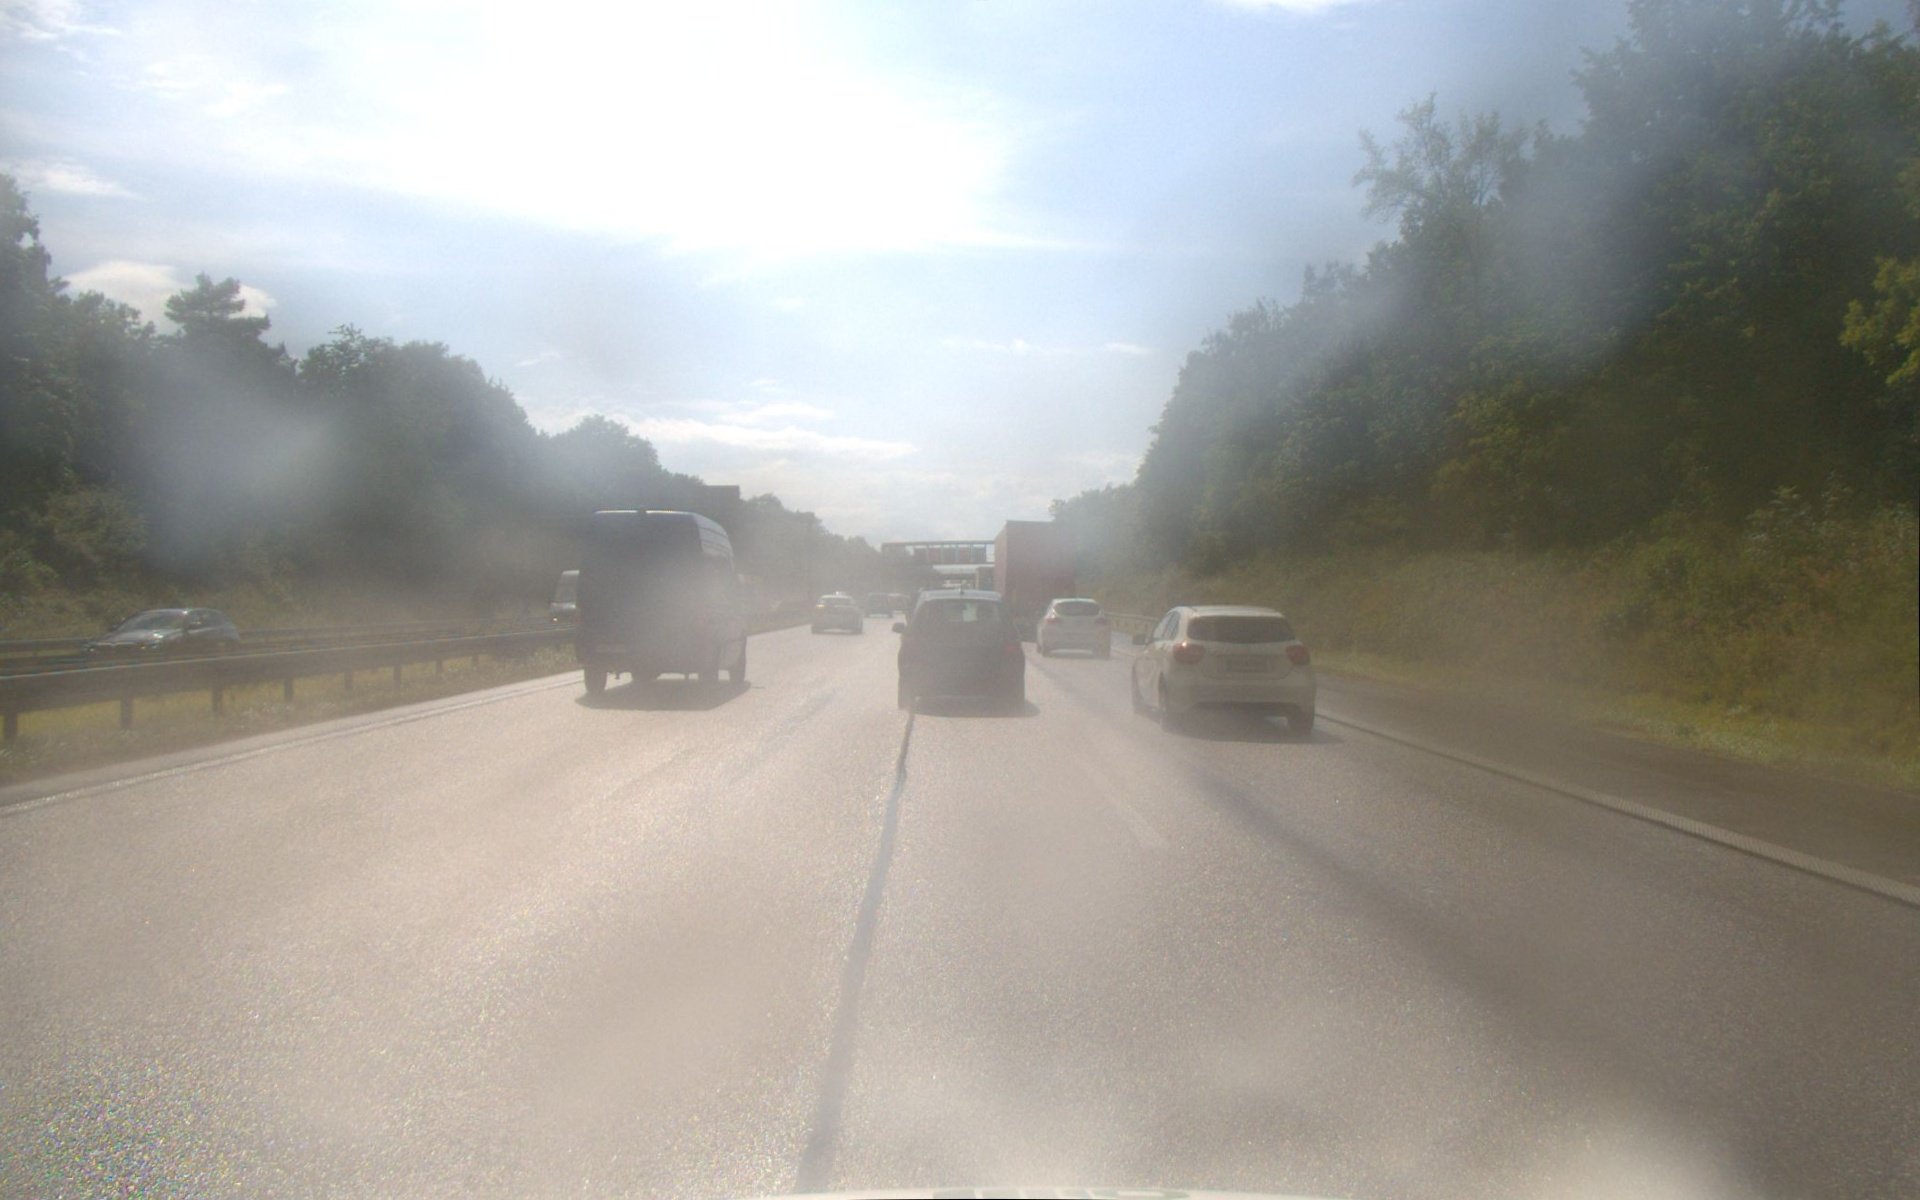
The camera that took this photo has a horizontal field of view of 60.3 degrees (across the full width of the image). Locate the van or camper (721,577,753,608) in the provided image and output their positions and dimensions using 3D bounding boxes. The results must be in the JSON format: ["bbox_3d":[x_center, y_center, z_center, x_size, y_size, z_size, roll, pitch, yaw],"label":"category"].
[{"bbox_3d":[-22.245,-0.692,165.368,2.450,2.972,7.135,1,0,-2],"label":"van or camper"}]

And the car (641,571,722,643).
[{"bbox_3d":[-10.187,0.256,60.960,2.139,2.495,5.746,1,0,-2],"label":"car"}]

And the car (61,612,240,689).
[{"bbox_3d":[-17.555,1.042,36.128,1.781,1.525,4.527,1,0,-2],"label":"car"}]

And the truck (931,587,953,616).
[{"bbox_3d":[-1.861,0.138,168.300,2.148,2.926,4.848,1,0,-2],"label":"truck"}]

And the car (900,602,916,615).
[{"bbox_3d":[-5.166,0.851,163.720,1.518,1.289,3.483,1,0,-2],"label":"car"}]

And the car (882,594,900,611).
[{"bbox_3d":[-5.788,0.218,139.384,1.431,1.418,3.310,1,0,-2],"label":"car"}]

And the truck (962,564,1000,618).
[{"bbox_3d":[1.783,-0.774,146.617,3.189,4.558,12.420,1,0,0],"label":"truck"}]

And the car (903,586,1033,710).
[{"bbox_3d":[0.047,0.636,23.395,1.683,1.595,3.483,1,0,-2],"label":"car"}]

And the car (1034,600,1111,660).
[{"bbox_3d":[2.923,0.760,43.617,1.646,1.467,3.903,1,0,-2],"label":"car"}]

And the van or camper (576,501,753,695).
[{"bbox_3d":[-4.534,-0.020,26.176,1.953,2.715,5.382,1,0,-2],"label":"van or camper"}]

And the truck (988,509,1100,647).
[{"bbox_3d":[3.104,-0.763,66.660,3.575,4.803,16.777,1,0,0],"label":"truck"}]

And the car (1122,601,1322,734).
[{"bbox_3d":[3.110,0.753,20.435,1.658,1.450,4.218,1,0,-2],"label":"car"}]

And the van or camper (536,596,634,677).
[{"bbox_3d":[-14.302,1.338,63.529,2.217,2.920,6.838,1,0,-1],"label":"van or camper"}]

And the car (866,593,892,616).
[{"bbox_3d":[-5.478,0.301,112.082,1.716,1.482,3.388,1,0,-2],"label":"car"}]

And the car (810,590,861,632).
[{"bbox_3d":[-4.870,0.408,64.968,1.817,1.578,3.483,1,0,-2],"label":"car"}]

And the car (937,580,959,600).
[{"bbox_3d":[-0.867,-0.711,118.581,1.521,1.407,3.208,1,0,-2],"label":"car"}]

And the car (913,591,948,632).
[{"bbox_3d":[-1.362,0.526,75.177,1.501,1.777,3.483,1,0,-2],"label":"car"}]

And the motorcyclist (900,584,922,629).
[{"bbox_3d":[-1.867,0.248,62.818,0.785,1.662,1.013,1,0,-2],"label":"motorcyclist"}]

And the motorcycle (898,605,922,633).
[{"bbox_3d":[-1.890,0.694,62.860,0.873,1.018,2.895,1,0,-2],"label":"motorcycle"}]

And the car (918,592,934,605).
[{"bbox_3d":[-4.752,-0.237,232.384,1.952,1.731,4.001,0,0,2],"label":"car"}]
